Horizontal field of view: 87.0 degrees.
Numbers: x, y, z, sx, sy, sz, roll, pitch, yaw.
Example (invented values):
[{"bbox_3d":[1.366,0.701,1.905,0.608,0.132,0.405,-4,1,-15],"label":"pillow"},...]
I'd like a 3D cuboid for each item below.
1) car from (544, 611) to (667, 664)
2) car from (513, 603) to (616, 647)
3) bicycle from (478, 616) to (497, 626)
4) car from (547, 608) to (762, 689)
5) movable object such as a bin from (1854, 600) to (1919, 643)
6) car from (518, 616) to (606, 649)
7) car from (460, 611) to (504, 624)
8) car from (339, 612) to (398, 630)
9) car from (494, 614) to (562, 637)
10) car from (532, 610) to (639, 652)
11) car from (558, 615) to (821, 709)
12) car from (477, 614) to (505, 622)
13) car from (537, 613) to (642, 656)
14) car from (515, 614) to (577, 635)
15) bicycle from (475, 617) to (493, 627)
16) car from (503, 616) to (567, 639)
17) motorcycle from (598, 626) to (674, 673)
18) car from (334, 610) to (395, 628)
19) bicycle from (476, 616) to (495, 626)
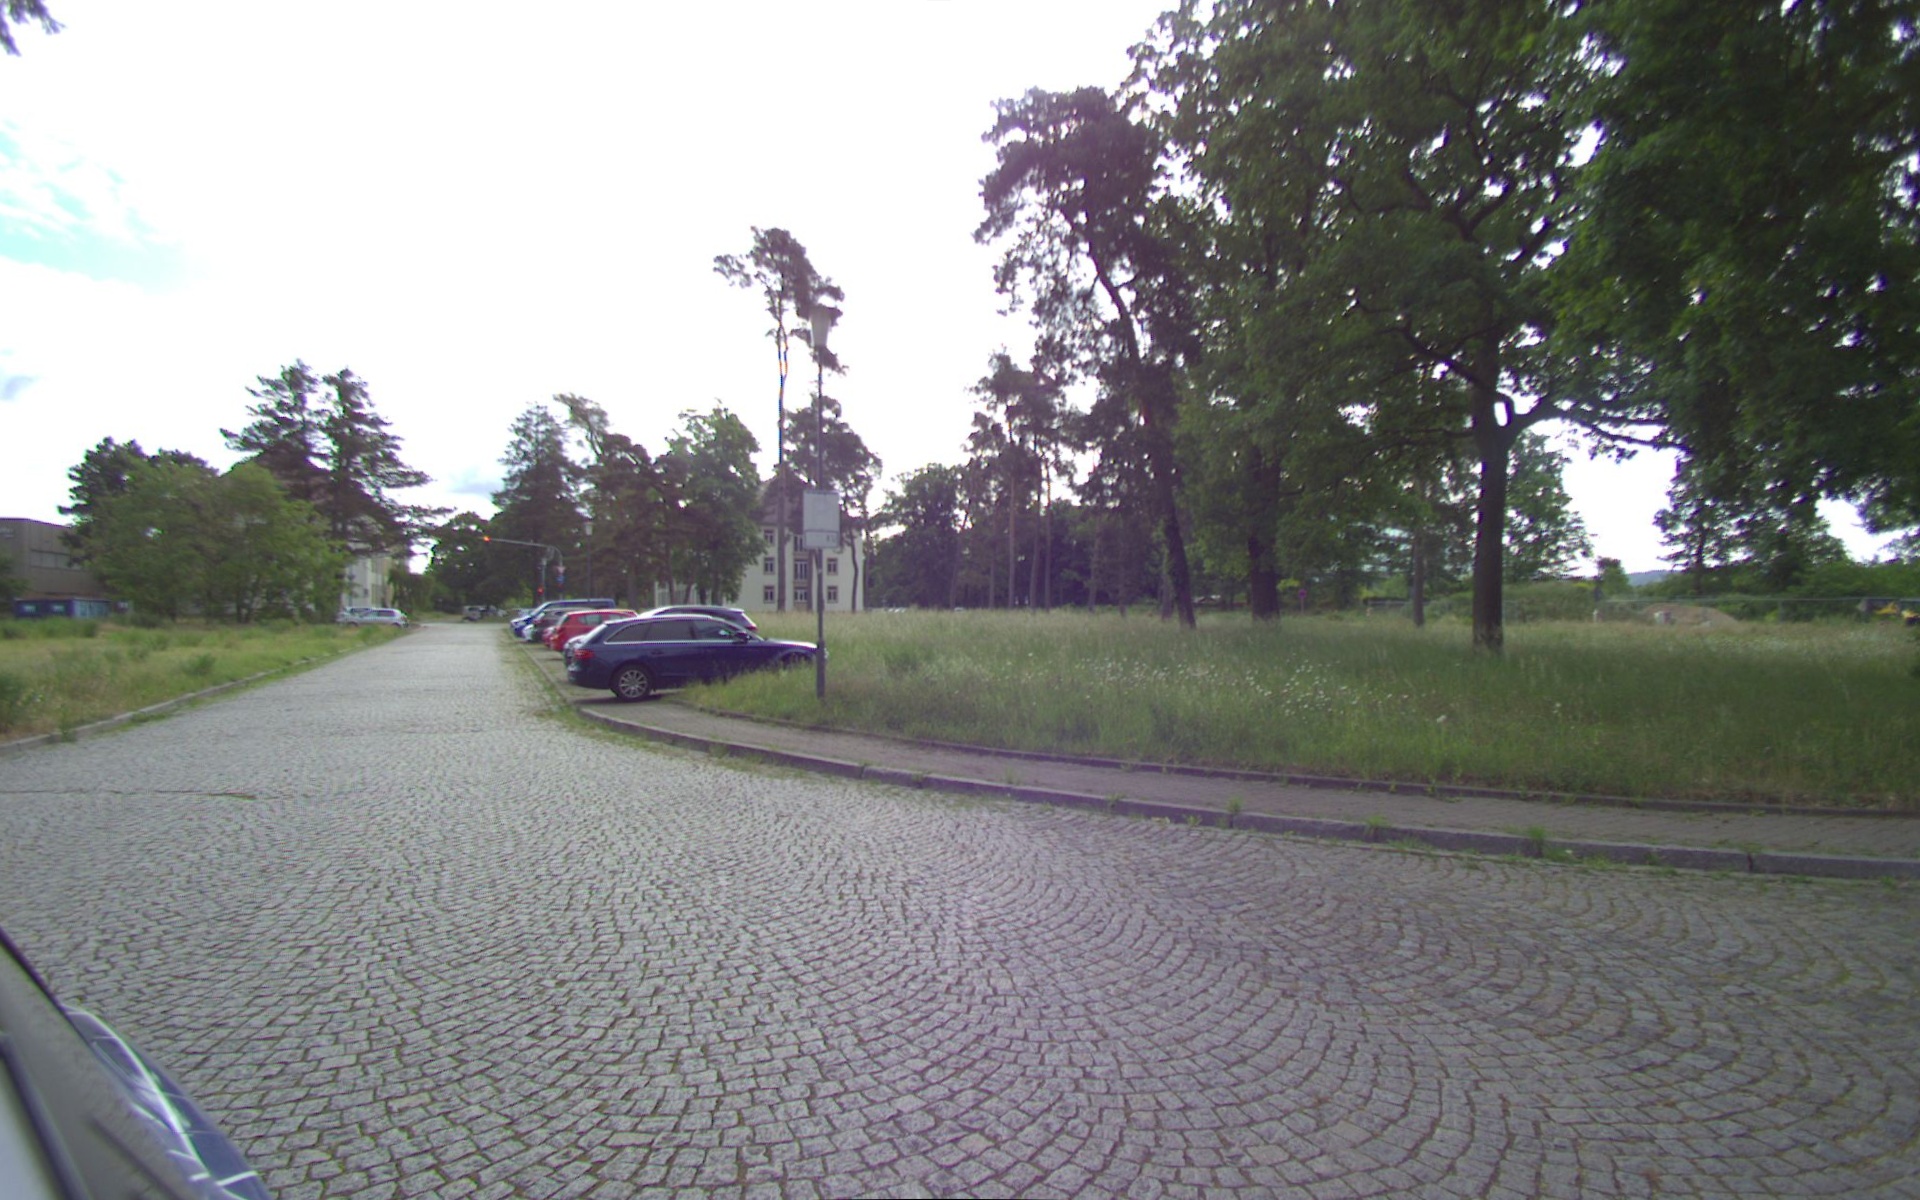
[{"bbox_3d":[-11.088,1.136,31.663,3.439,1.493,1.607,-2,0,-27],"label":"car"},{"bbox_3d":[-19.197,1.177,49.171,4.467,1.916,1.799,-2,0,-27],"label":"car"},{"bbox_3d":[-53.691,2.416,114.988,1.830,1.103,0.512,0,-1,-33],"label":"bicycle"},{"bbox_3d":[-6.735,1.002,22.371,4.290,1.574,1.770,-1,0,-27],"label":"car"},{"bbox_3d":[58.495,1.324,62.927,1.980,2.575,5.324,0,-1,13],"label":"movable object such as a bin"},{"bbox_3d":[-18.387,1.471,46.746,3.631,1.349,1.589,-2,0,-27],"label":"car"},{"bbox_3d":[-61.216,2.202,129.689,4.902,1.634,1.907,0,-1,-32],"label":"car"},{"bbox_3d":[-38.237,1.354,65.500,3.213,1.095,1.454,0,-1,-29],"label":"car"},{"bbox_3d":[-27.900,1.644,65.356,3.885,1.349,1.589,-2,0,-27],"label":"car"},{"bbox_3d":[-15.238,1.227,41.213,3.885,1.557,1.770,-2,0,-27],"label":"car"},{"bbox_3d":[-4.805,1.029,17.978,4.279,1.415,1.770,-1,0,-23],"label":"car"},{"bbox_3d":[-58.951,2.244,127.212,3.066,1.060,1.344,0,-1,-32],"label":"car"},{"bbox_3d":[-14.163,1.288,38.713,3.600,1.432,1.582,-2,0,-27],"label":"car"},{"bbox_3d":[-28.980,1.685,70.913,3.885,1.349,1.589,-2,0,-27],"label":"car"},{"bbox_3d":[-53.454,2.415,113.698,1.830,1.103,0.512,0,-1,-33],"label":"bicycle"},{"bbox_3d":[-28.821,1.861,68.698,3.885,1.349,1.589,-2,0,-27],"label":"car"},{"bbox_3d":[-8.835,1.335,27.621,1.882,1.202,0.552,0,-1,-30],"label":"motorcycle"},{"bbox_3d":[-41.153,1.326,70.005,3.534,1.220,1.589,0,-1,-27],"label":"car"},{"bbox_3d":[-53.511,2.413,114.156,1.830,1.103,0.512,0,-1,-33],"label":"bicycle"}]
